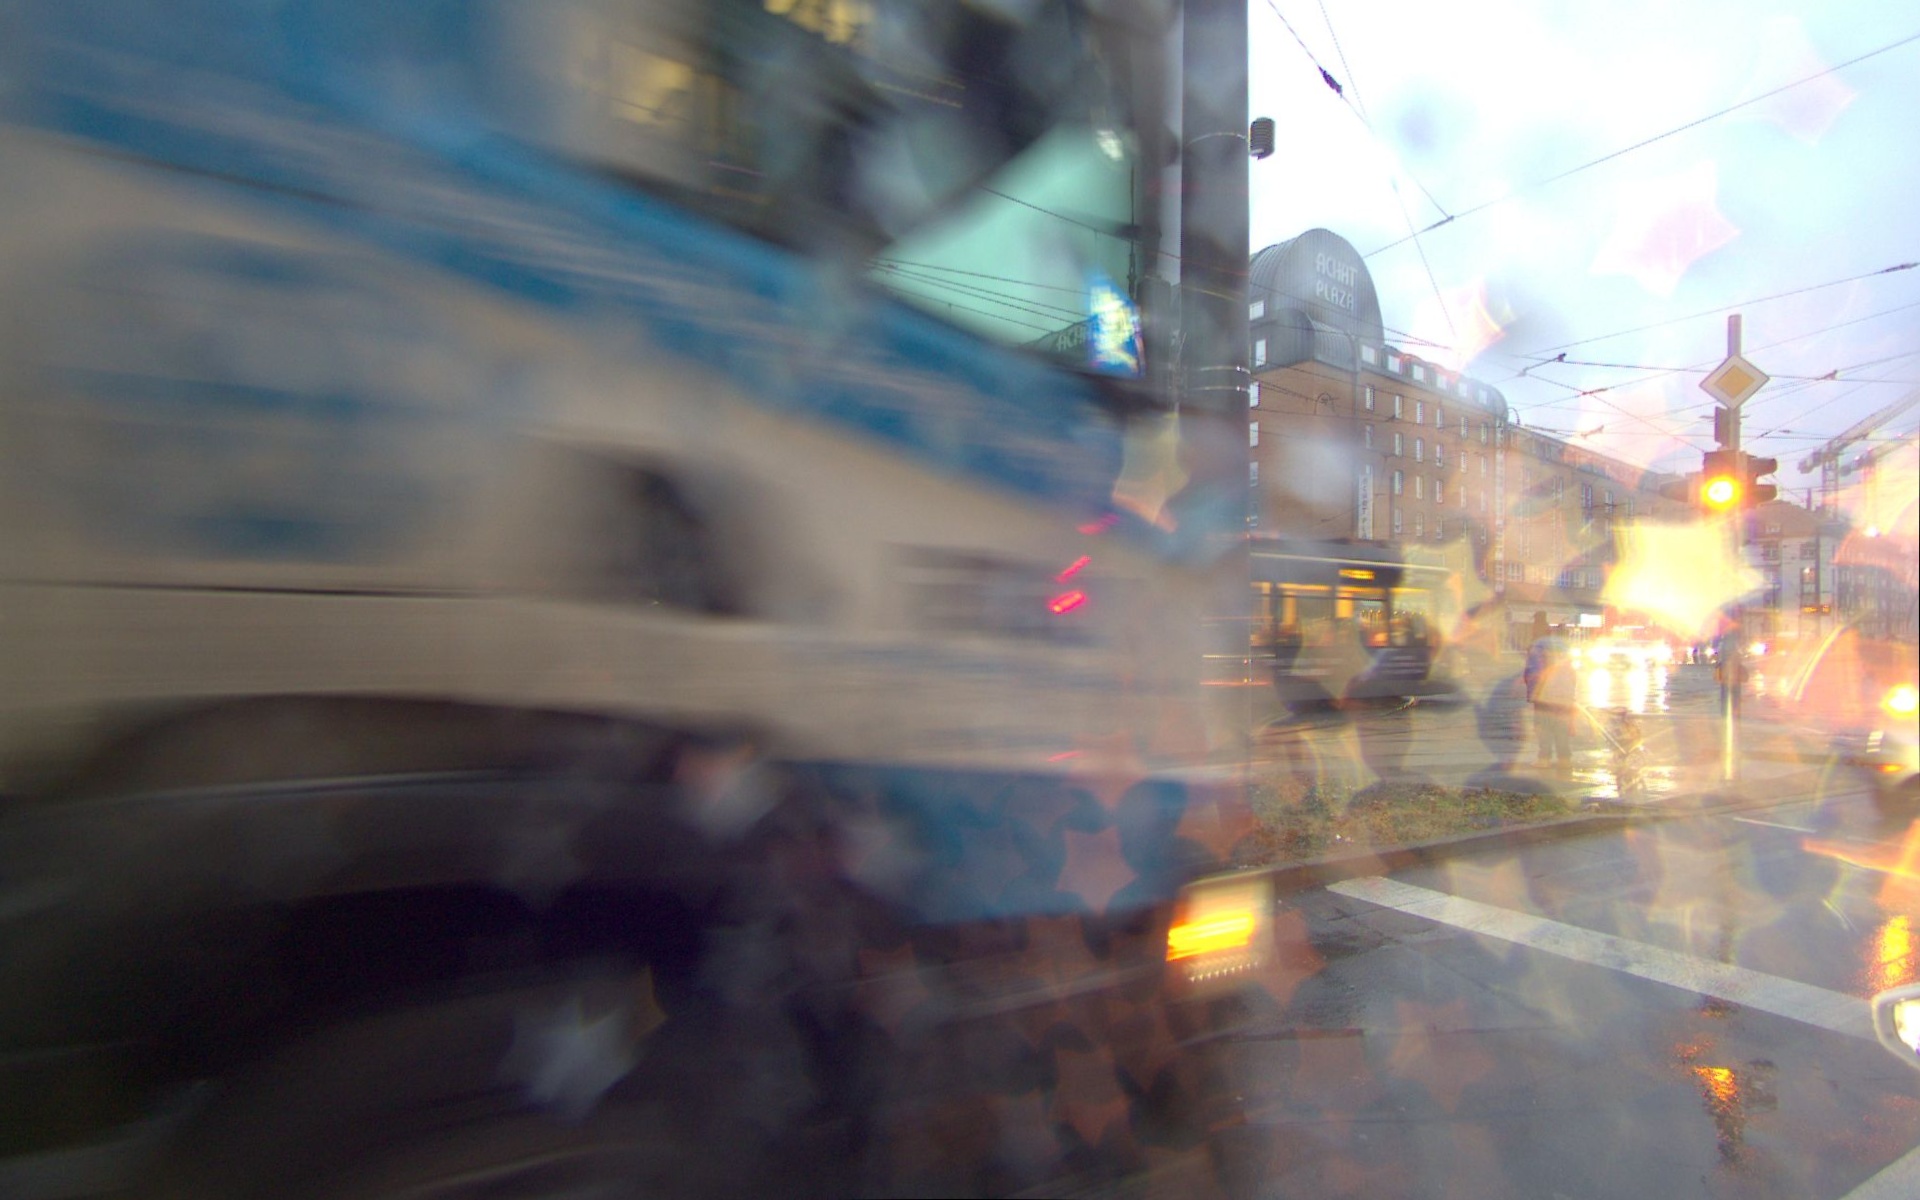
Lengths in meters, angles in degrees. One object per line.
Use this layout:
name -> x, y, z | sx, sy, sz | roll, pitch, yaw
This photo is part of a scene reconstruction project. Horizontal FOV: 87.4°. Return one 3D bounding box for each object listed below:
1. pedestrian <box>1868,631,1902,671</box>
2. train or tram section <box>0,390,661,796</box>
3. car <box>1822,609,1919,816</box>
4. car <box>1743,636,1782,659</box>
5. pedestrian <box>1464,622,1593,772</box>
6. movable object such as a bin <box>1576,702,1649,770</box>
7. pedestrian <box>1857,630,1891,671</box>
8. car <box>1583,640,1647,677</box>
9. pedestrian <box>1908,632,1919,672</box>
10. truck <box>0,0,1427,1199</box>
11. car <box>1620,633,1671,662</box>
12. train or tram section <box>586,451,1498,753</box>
pedestrian -> 47.202, 2.592, 51.243 | 0.820, 2.040, 0.980 | 1, -1, -15
train or tram section -> -12.750, -0.130, 8.081 | 19.855, 3.662, 2.848 | 2, -2, -33
car -> 8.693, 0.900, 7.833 | 3.951, 1.466, 1.699 | 4, -4, -28
car -> 60.741, 3.595, 75.979 | 3.839, 1.645, 1.769 | 2, -1, -43
pedestrian -> 6.371, 1.076, 11.302 | 1.016, 1.621, 0.716 | 0, -3, -1
movable object such as a bin -> 7.155, 1.488, 11.024 | 0.527, 0.708, 0.412 | 1, -3, 0
pedestrian -> 46.174, 2.554, 50.747 | 0.820, 2.040, 0.980 | 1, -1, -15
car -> 30.901, 2.710, 47.326 | 2.019, 1.582, 4.812 | -1, -2, 39
pedestrian -> 48.735, 2.635, 50.728 | 0.820, 2.040, 0.980 | 1, -1, -15
truck -> -3.016, -0.283, 1.143 | 7.441, 3.681, 2.825 | 1, -1, -31
car -> 41.492, 2.876, 60.754 | 3.839, 1.645, 1.769 | 2, -1, -43
train or tram section -> 3.323, 0.281, 18.524 | 19.005, 3.662, 2.848 | 2, -2, -33
